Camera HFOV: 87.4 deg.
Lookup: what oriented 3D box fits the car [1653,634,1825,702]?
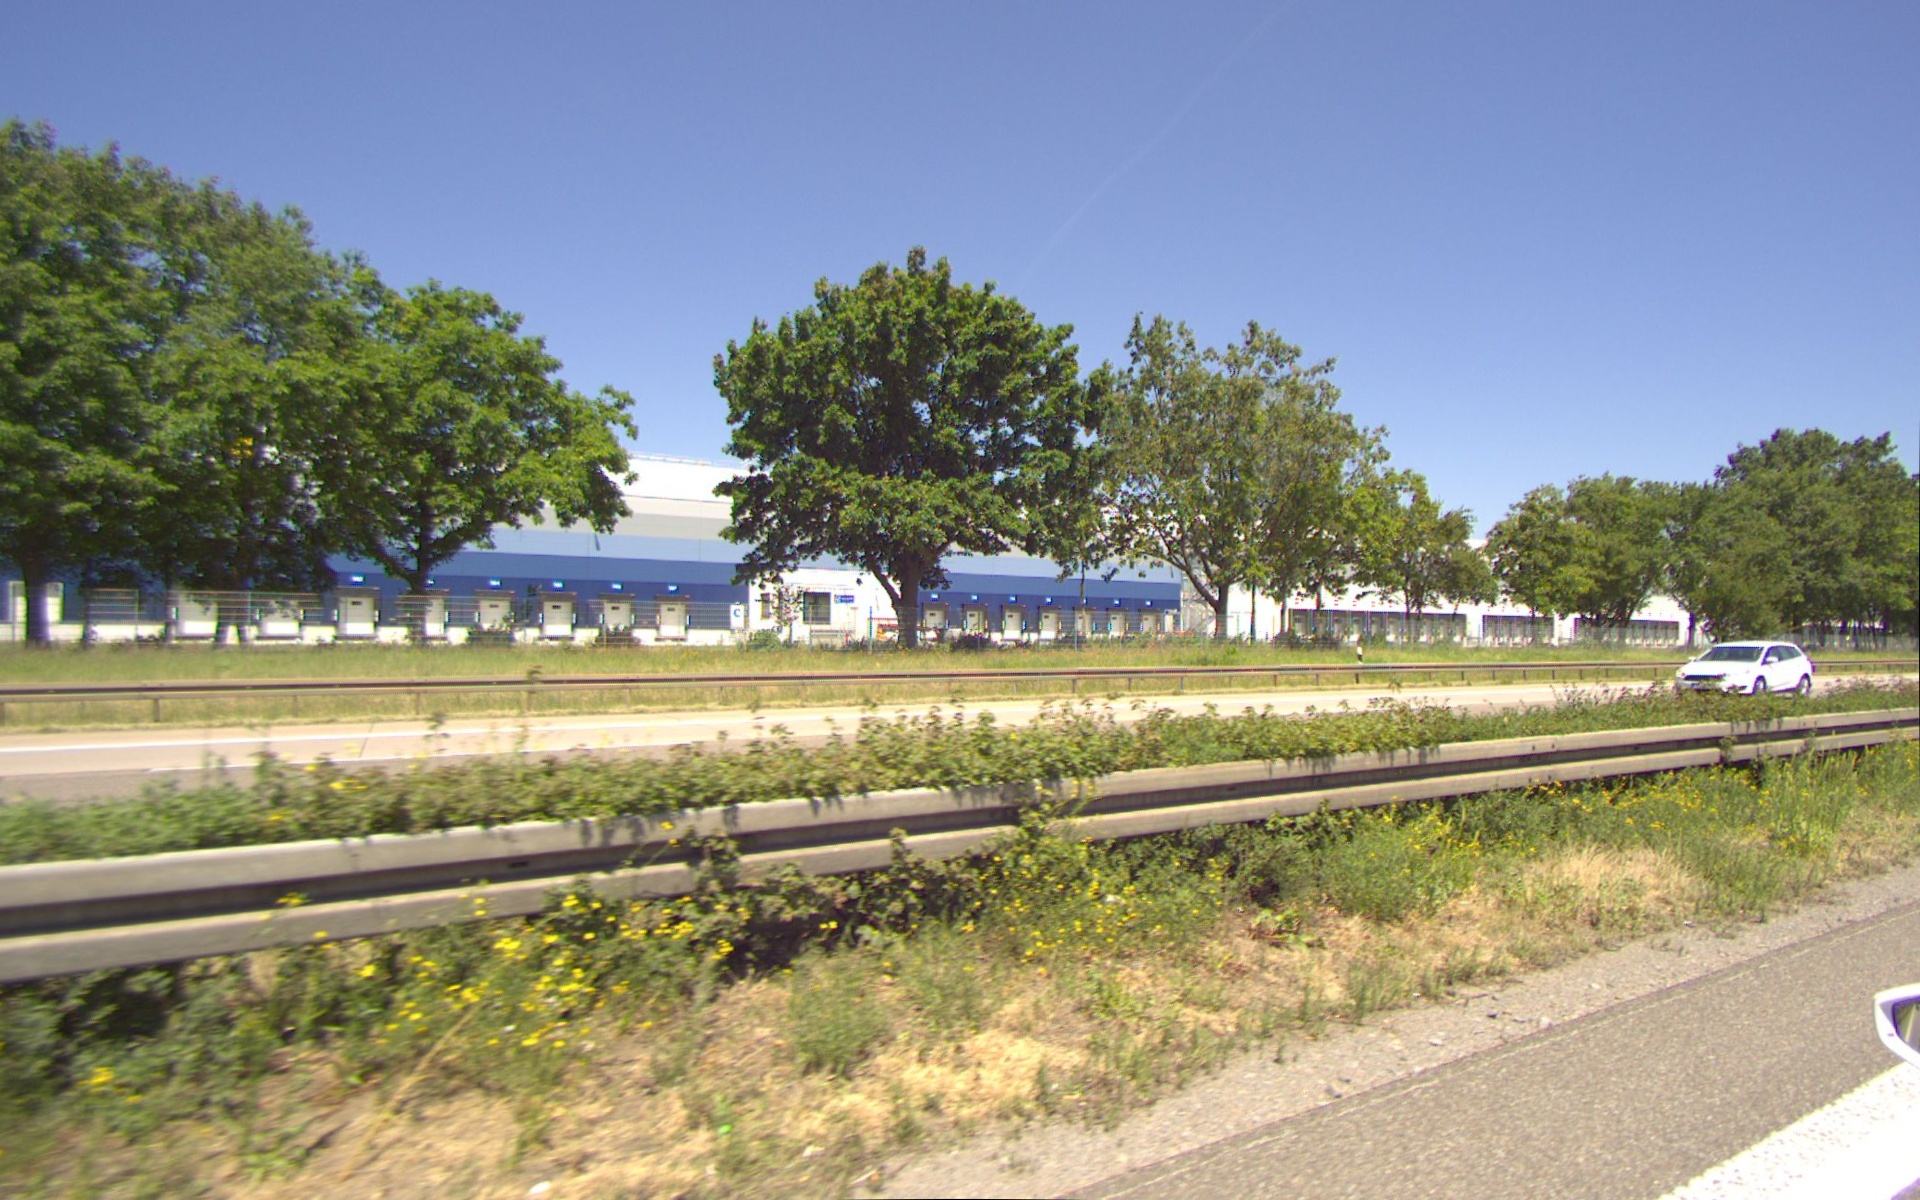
[{"bbox_3d":[20.586,1.780,26.508,4.804,1.661,1.984,2,-5,-32],"label":"car"}]

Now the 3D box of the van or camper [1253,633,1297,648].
[{"bbox_3d":[35.467,4.601,113.071,4.961,1.674,1.984,2,-2,-30],"label":"van or camper"}]
